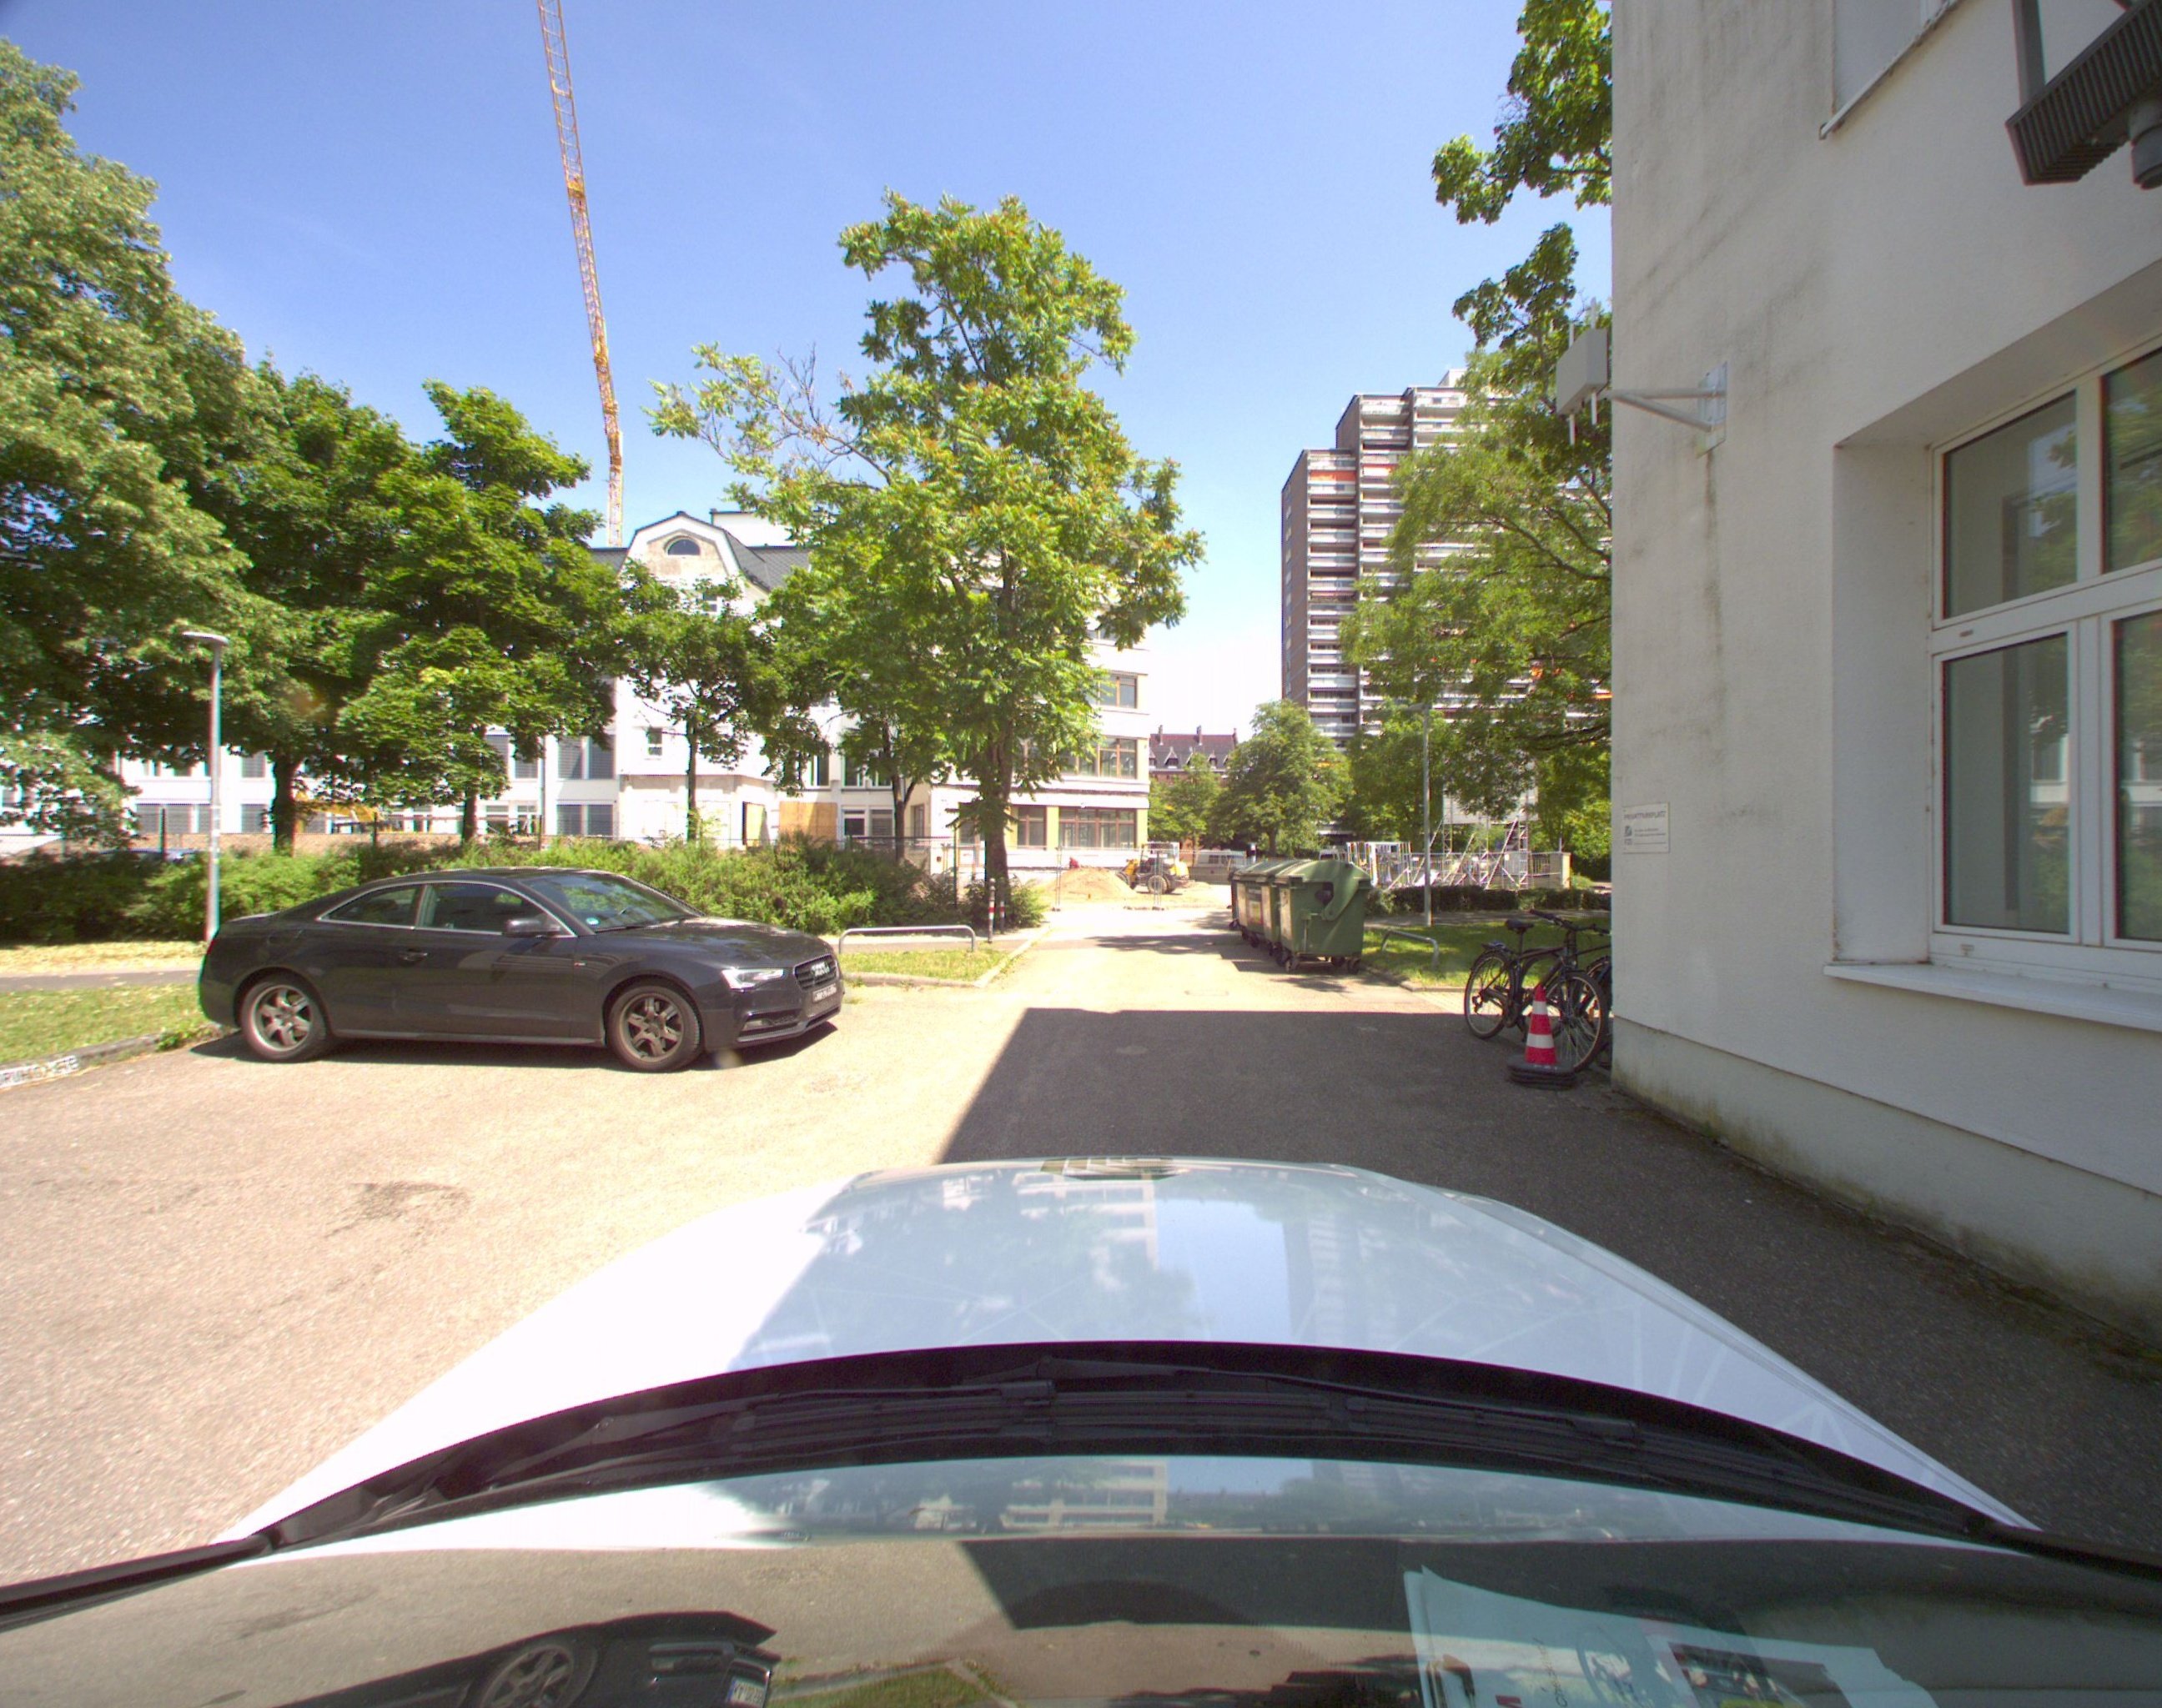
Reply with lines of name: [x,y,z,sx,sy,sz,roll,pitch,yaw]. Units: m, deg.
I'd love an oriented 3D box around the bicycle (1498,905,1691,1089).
bicycle: [3.801,0.984,6.201,0.403,1.102,1.828,0,-1,3]

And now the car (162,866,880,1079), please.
car: [-4.123,0.796,6.544,4.408,1.380,2.026,0,-1,5]

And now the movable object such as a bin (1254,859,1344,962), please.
movable object such as a bin: [3.246,0.813,12.254,1.071,1.458,1.378,0,-1,4]

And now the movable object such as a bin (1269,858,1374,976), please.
movable object such as a bin: [3.145,0.790,10.813,1.071,1.458,1.378,0,-1,4]

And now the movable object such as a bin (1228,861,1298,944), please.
movable object such as a bin: [3.355,0.873,15.148,1.071,1.458,1.378,0,-1,4]

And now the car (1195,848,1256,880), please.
car: [11.240,0.776,63.659,2.004,2.416,5.198,1,-1,-26]

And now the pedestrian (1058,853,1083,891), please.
pedestrian: [-0.498,0.899,40.605,0.906,1.847,0.991,0,-1,23]

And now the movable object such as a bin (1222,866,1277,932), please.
movable object such as a bin: [3.837,1.003,18.638,1.071,1.458,1.378,0,-1,4]

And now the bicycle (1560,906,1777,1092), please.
bicycle: [4.312,0.985,6.149,0.403,1.102,1.828,0,-1,3]

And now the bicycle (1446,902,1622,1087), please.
bicycle: [3.332,0.959,6.169,0.403,1.102,1.828,0,-1,3]

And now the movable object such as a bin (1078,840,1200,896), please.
movable object such as a bin: [2.805,0.626,39.791,5.352,2.464,2.382,2,0,31]

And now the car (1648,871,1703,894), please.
car: [35.691,1.700,48.973,1.897,1.310,3.952,0,-1,24]

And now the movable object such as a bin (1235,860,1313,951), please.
movable object such as a bin: [3.219,0.836,13.730,1.071,1.458,1.378,0,-1,4]

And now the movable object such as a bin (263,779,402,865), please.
movable object such as a bin: [-39.269,-1.631,42.799,5.675,4.372,2.003,0,-1,6]

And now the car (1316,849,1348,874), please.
car: [23.209,0.737,75.139,2.164,2.258,4.896,0,-1,24]
